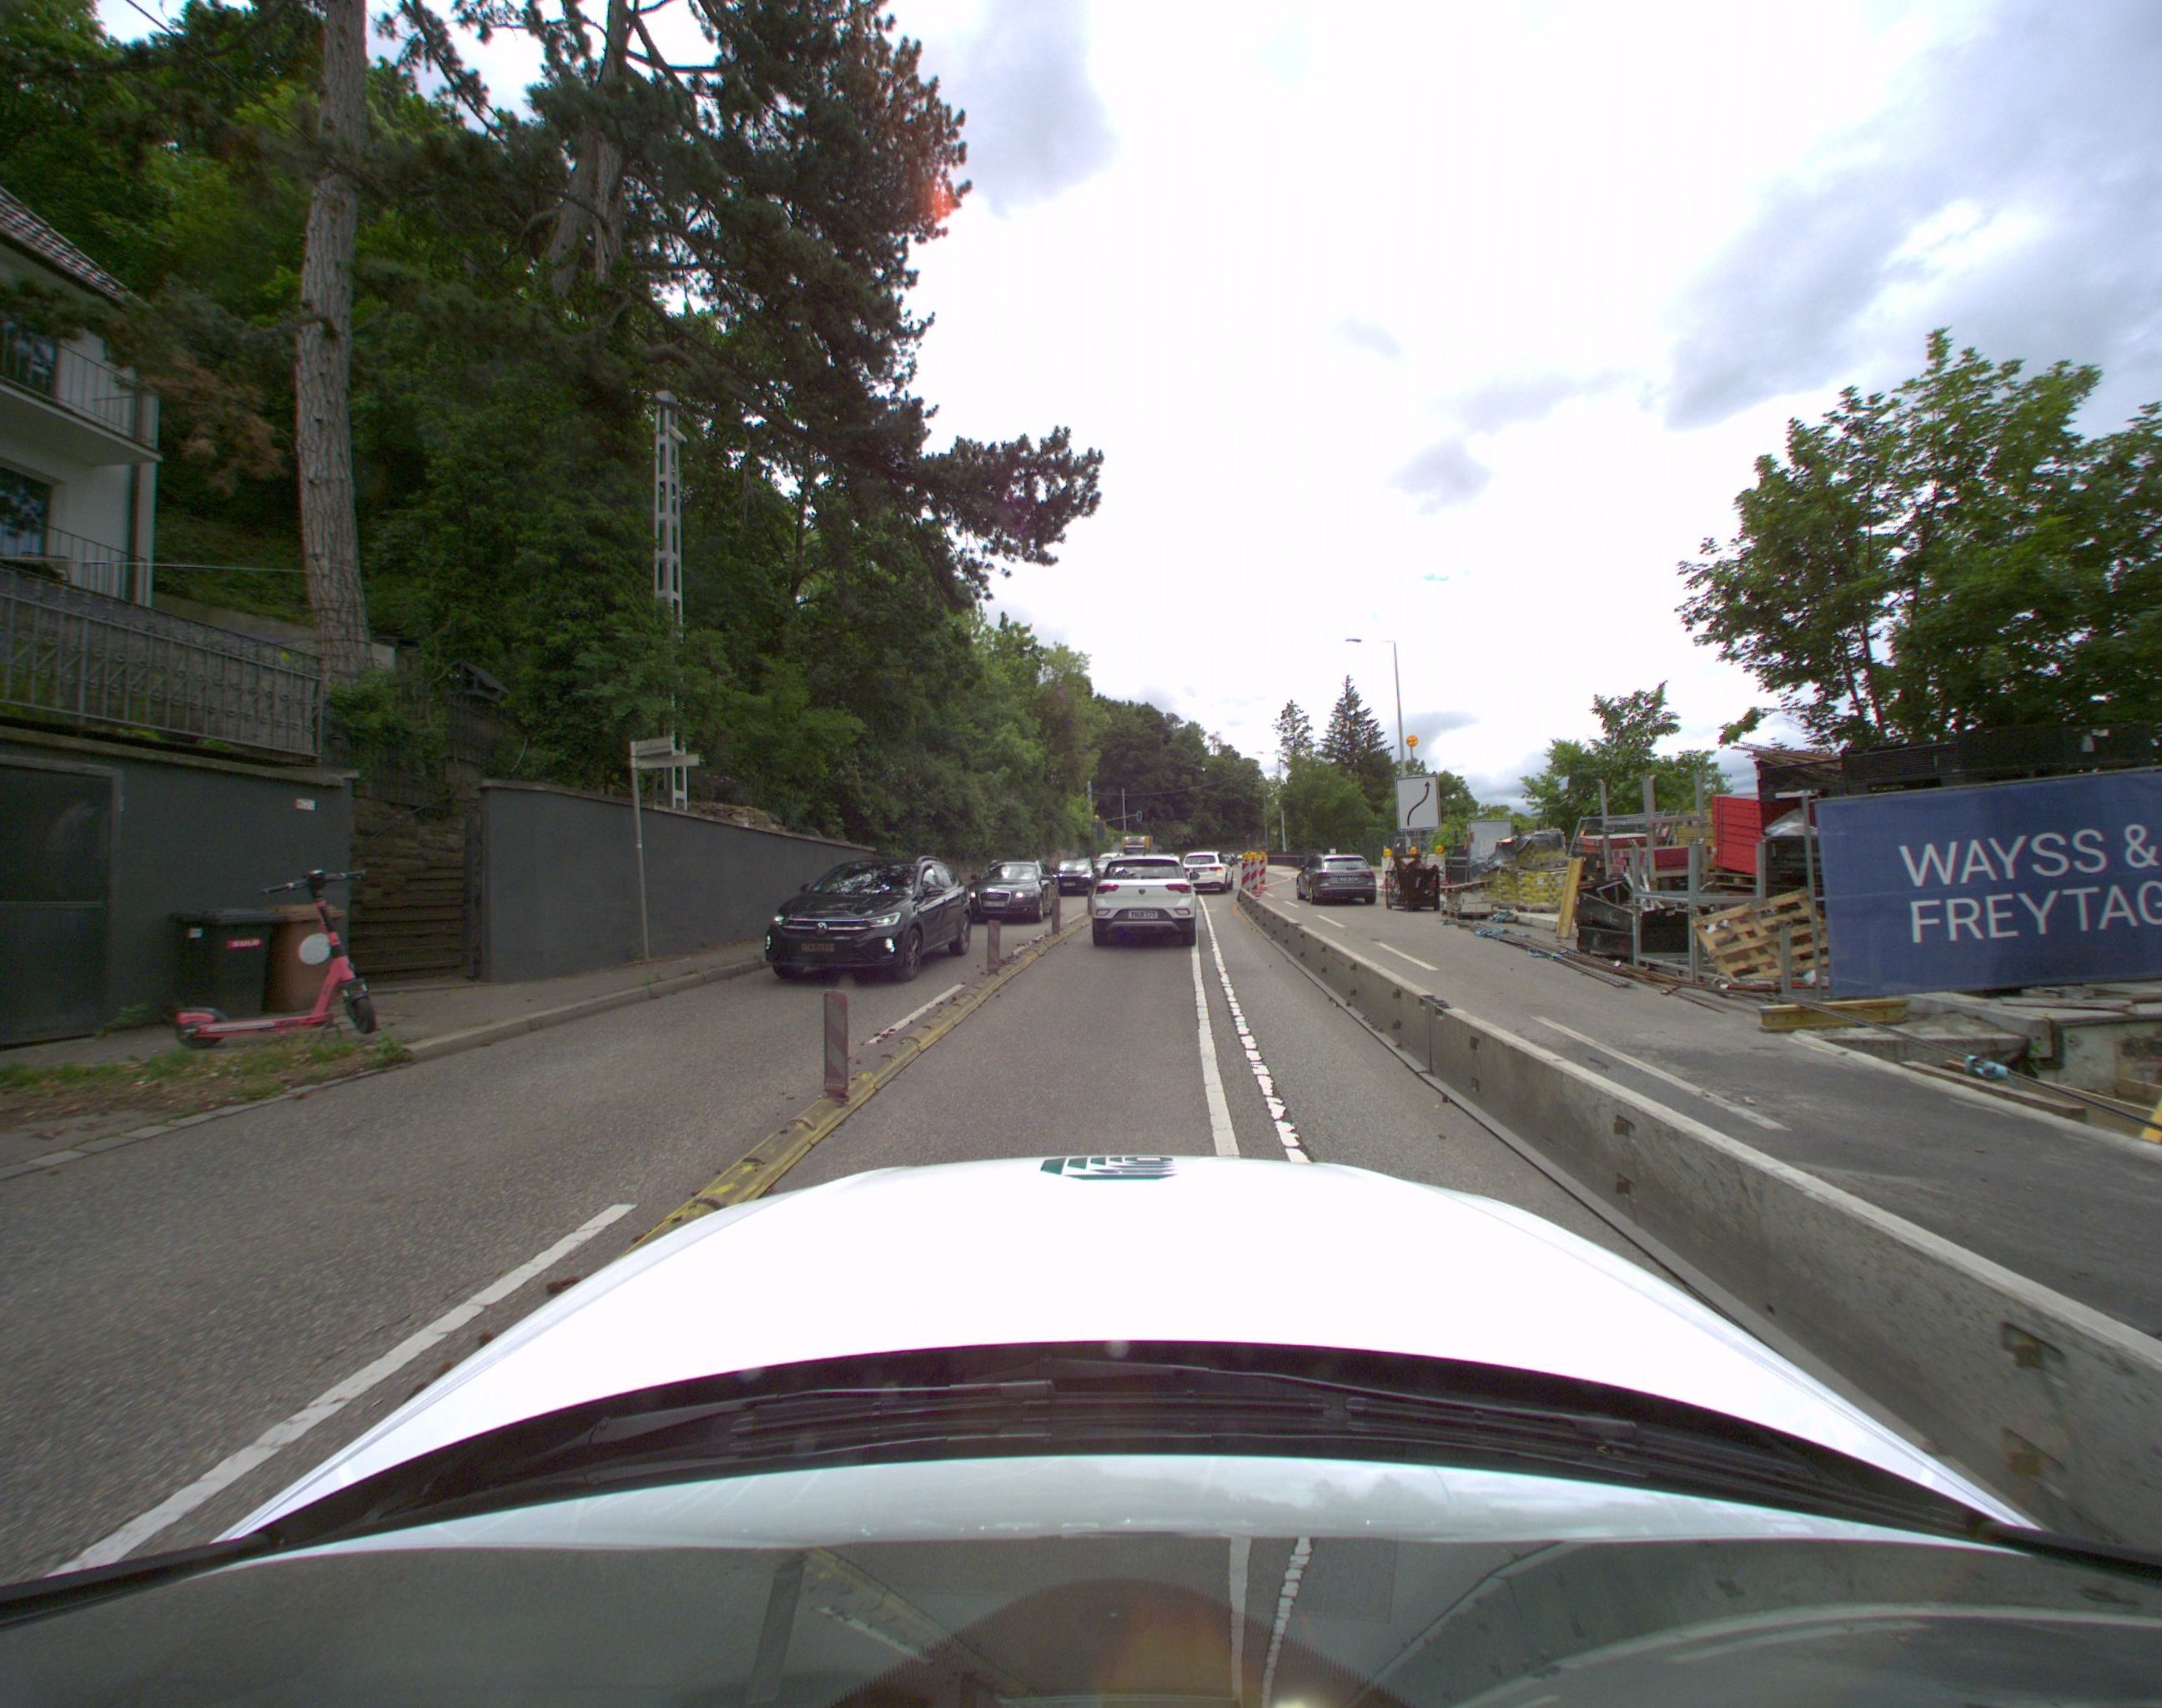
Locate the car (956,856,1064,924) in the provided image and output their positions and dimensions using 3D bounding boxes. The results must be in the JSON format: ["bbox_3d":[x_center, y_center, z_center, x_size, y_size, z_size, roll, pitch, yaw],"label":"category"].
[{"bbox_3d":[-1.614,0.803,20.193,1.782,1.464,4.518,0,0,7],"label":"car"}]

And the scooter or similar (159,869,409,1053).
[{"bbox_3d":[-5.799,0.732,6.005,1.217,1.232,0.490,0,-1,-27],"label":"scooter or similar"}]

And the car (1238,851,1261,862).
[{"bbox_3d":[26.919,0.404,130.234,1.888,1.574,4.025,-1,-1,39],"label":"car"}]

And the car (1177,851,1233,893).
[{"bbox_3d":[5.016,0.687,32.532,1.980,1.586,4.013,-1,-1,12],"label":"car"}]

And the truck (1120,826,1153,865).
[{"bbox_3d":[5.556,-0.775,80.360,2.716,3.510,7.365,-2,-1,7],"label":"truck"}]

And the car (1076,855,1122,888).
[{"bbox_3d":[0.959,0.852,41.142,1.821,1.592,4.664,0,-1,7],"label":"car"}]

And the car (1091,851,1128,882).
[{"bbox_3d":[1.762,0.751,49.502,1.793,1.790,4.351,0,-1,8],"label":"car"}]

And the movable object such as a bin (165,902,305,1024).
[{"bbox_3d":[-7.093,0.894,6.853,0.540,0.939,0.602,0,-1,5],"label":"movable object such as a bin"}]

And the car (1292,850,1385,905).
[{"bbox_3d":[7.560,0.642,24.311,1.830,1.455,4.637,-1,0,7],"label":"car"}]

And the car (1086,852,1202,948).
[{"bbox_3d":[1.247,0.749,15.006,1.857,1.536,3.811,0,0,7],"label":"car"}]

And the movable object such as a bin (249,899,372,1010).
[{"bbox_3d":[-7.033,0.898,7.457,0.540,0.939,0.602,0,-1,5],"label":"movable object such as a bin"}]

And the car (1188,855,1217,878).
[{"bbox_3d":[8.717,0.878,58.689,1.896,1.574,4.007,0,-1,7],"label":"car"}]

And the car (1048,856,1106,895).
[{"bbox_3d":[-0.087,0.842,33.718,1.819,1.485,4.327,0,0,7],"label":"car"}]

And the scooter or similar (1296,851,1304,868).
[{"bbox_3d":[16.445,0.420,61.171,0.531,1.226,1.211,-4,0,13],"label":"scooter or similar"}]

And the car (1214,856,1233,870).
[{"bbox_3d":[16.563,1.080,94.825,1.896,1.574,4.007,0,-1,7],"label":"car"}]

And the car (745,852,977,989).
[{"bbox_3d":[-2.761,0.754,11.204,1.749,1.529,3.917,0,0,6],"label":"car"}]

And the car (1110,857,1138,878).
[{"bbox_3d":[3.175,0.978,59.890,1.782,1.507,4.319,0,-1,6],"label":"car"}]
